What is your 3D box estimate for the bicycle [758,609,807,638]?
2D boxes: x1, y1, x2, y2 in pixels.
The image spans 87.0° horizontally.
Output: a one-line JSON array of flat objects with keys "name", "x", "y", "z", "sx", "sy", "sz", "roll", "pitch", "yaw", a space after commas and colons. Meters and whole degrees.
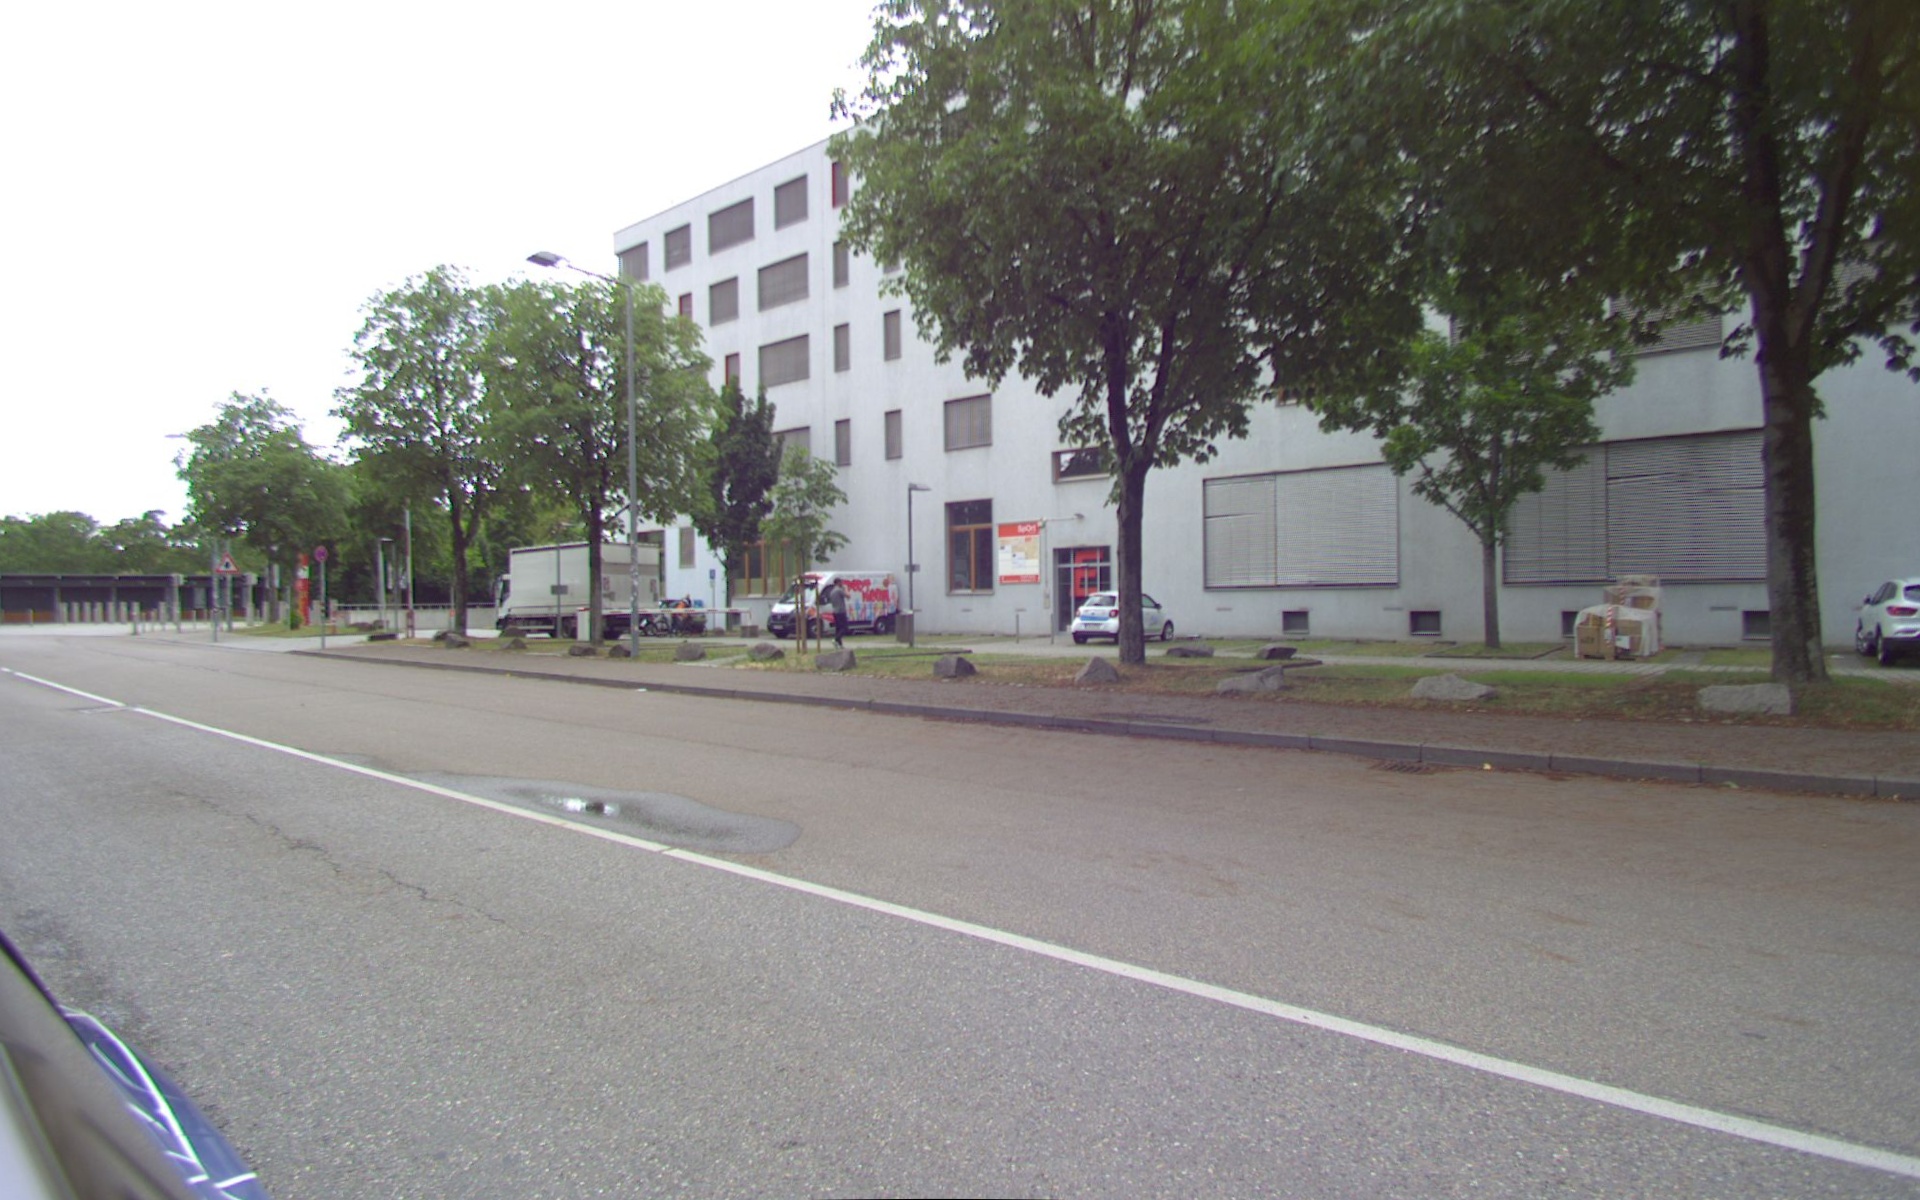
[{"name": "bicycle", "x": -7.260, "y": 0.952, "z": 41.431, "sx": 0.614, "sy": 1.078, "sz": 2.002, "roll": 0, "pitch": 2, "yaw": 44}]

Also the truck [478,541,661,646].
[{"name": "truck", "x": -15.094, "y": -0.273, "z": 38.761, "sx": 8.354, "sy": 3.627, "sz": 2.651, "roll": 0, "pitch": 1, "yaw": 38}]

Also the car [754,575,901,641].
[{"name": "car", "x": -4.875, "y": 0.224, "z": 38.094, "sx": 2.078, "sy": 2.296, "sz": 5.569, "roll": 0, "pitch": 1, "yaw": 40}]

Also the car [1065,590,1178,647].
[{"name": "car", "x": 4.812, "y": 0.486, "z": 29.873, "sx": 1.691, "sy": 1.511, "sz": 3.576, "roll": 0, "pitch": 1, "yaw": 40}]

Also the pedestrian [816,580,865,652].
[{"name": "pedestrian", "x": -2.852, "y": 0.359, "z": 24.180, "sx": 0.785, "sy": 1.684, "sz": 0.836, "roll": 0, "pitch": 1, "yaw": 35}]

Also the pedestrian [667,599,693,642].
[{"name": "pedestrian", "x": -10.858, "y": 0.794, "z": 39.201, "sx": 0.874, "sy": 1.618, "sz": 0.681, "roll": -1, "pitch": 1, "yaw": -8}]

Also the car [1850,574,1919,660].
[{"name": "car", "x": 17.930, "y": 0.259, "z": 18.650, "sx": 1.896, "sy": 1.467, "sz": 3.963, "roll": 0, "pitch": 1, "yaw": 36}]
